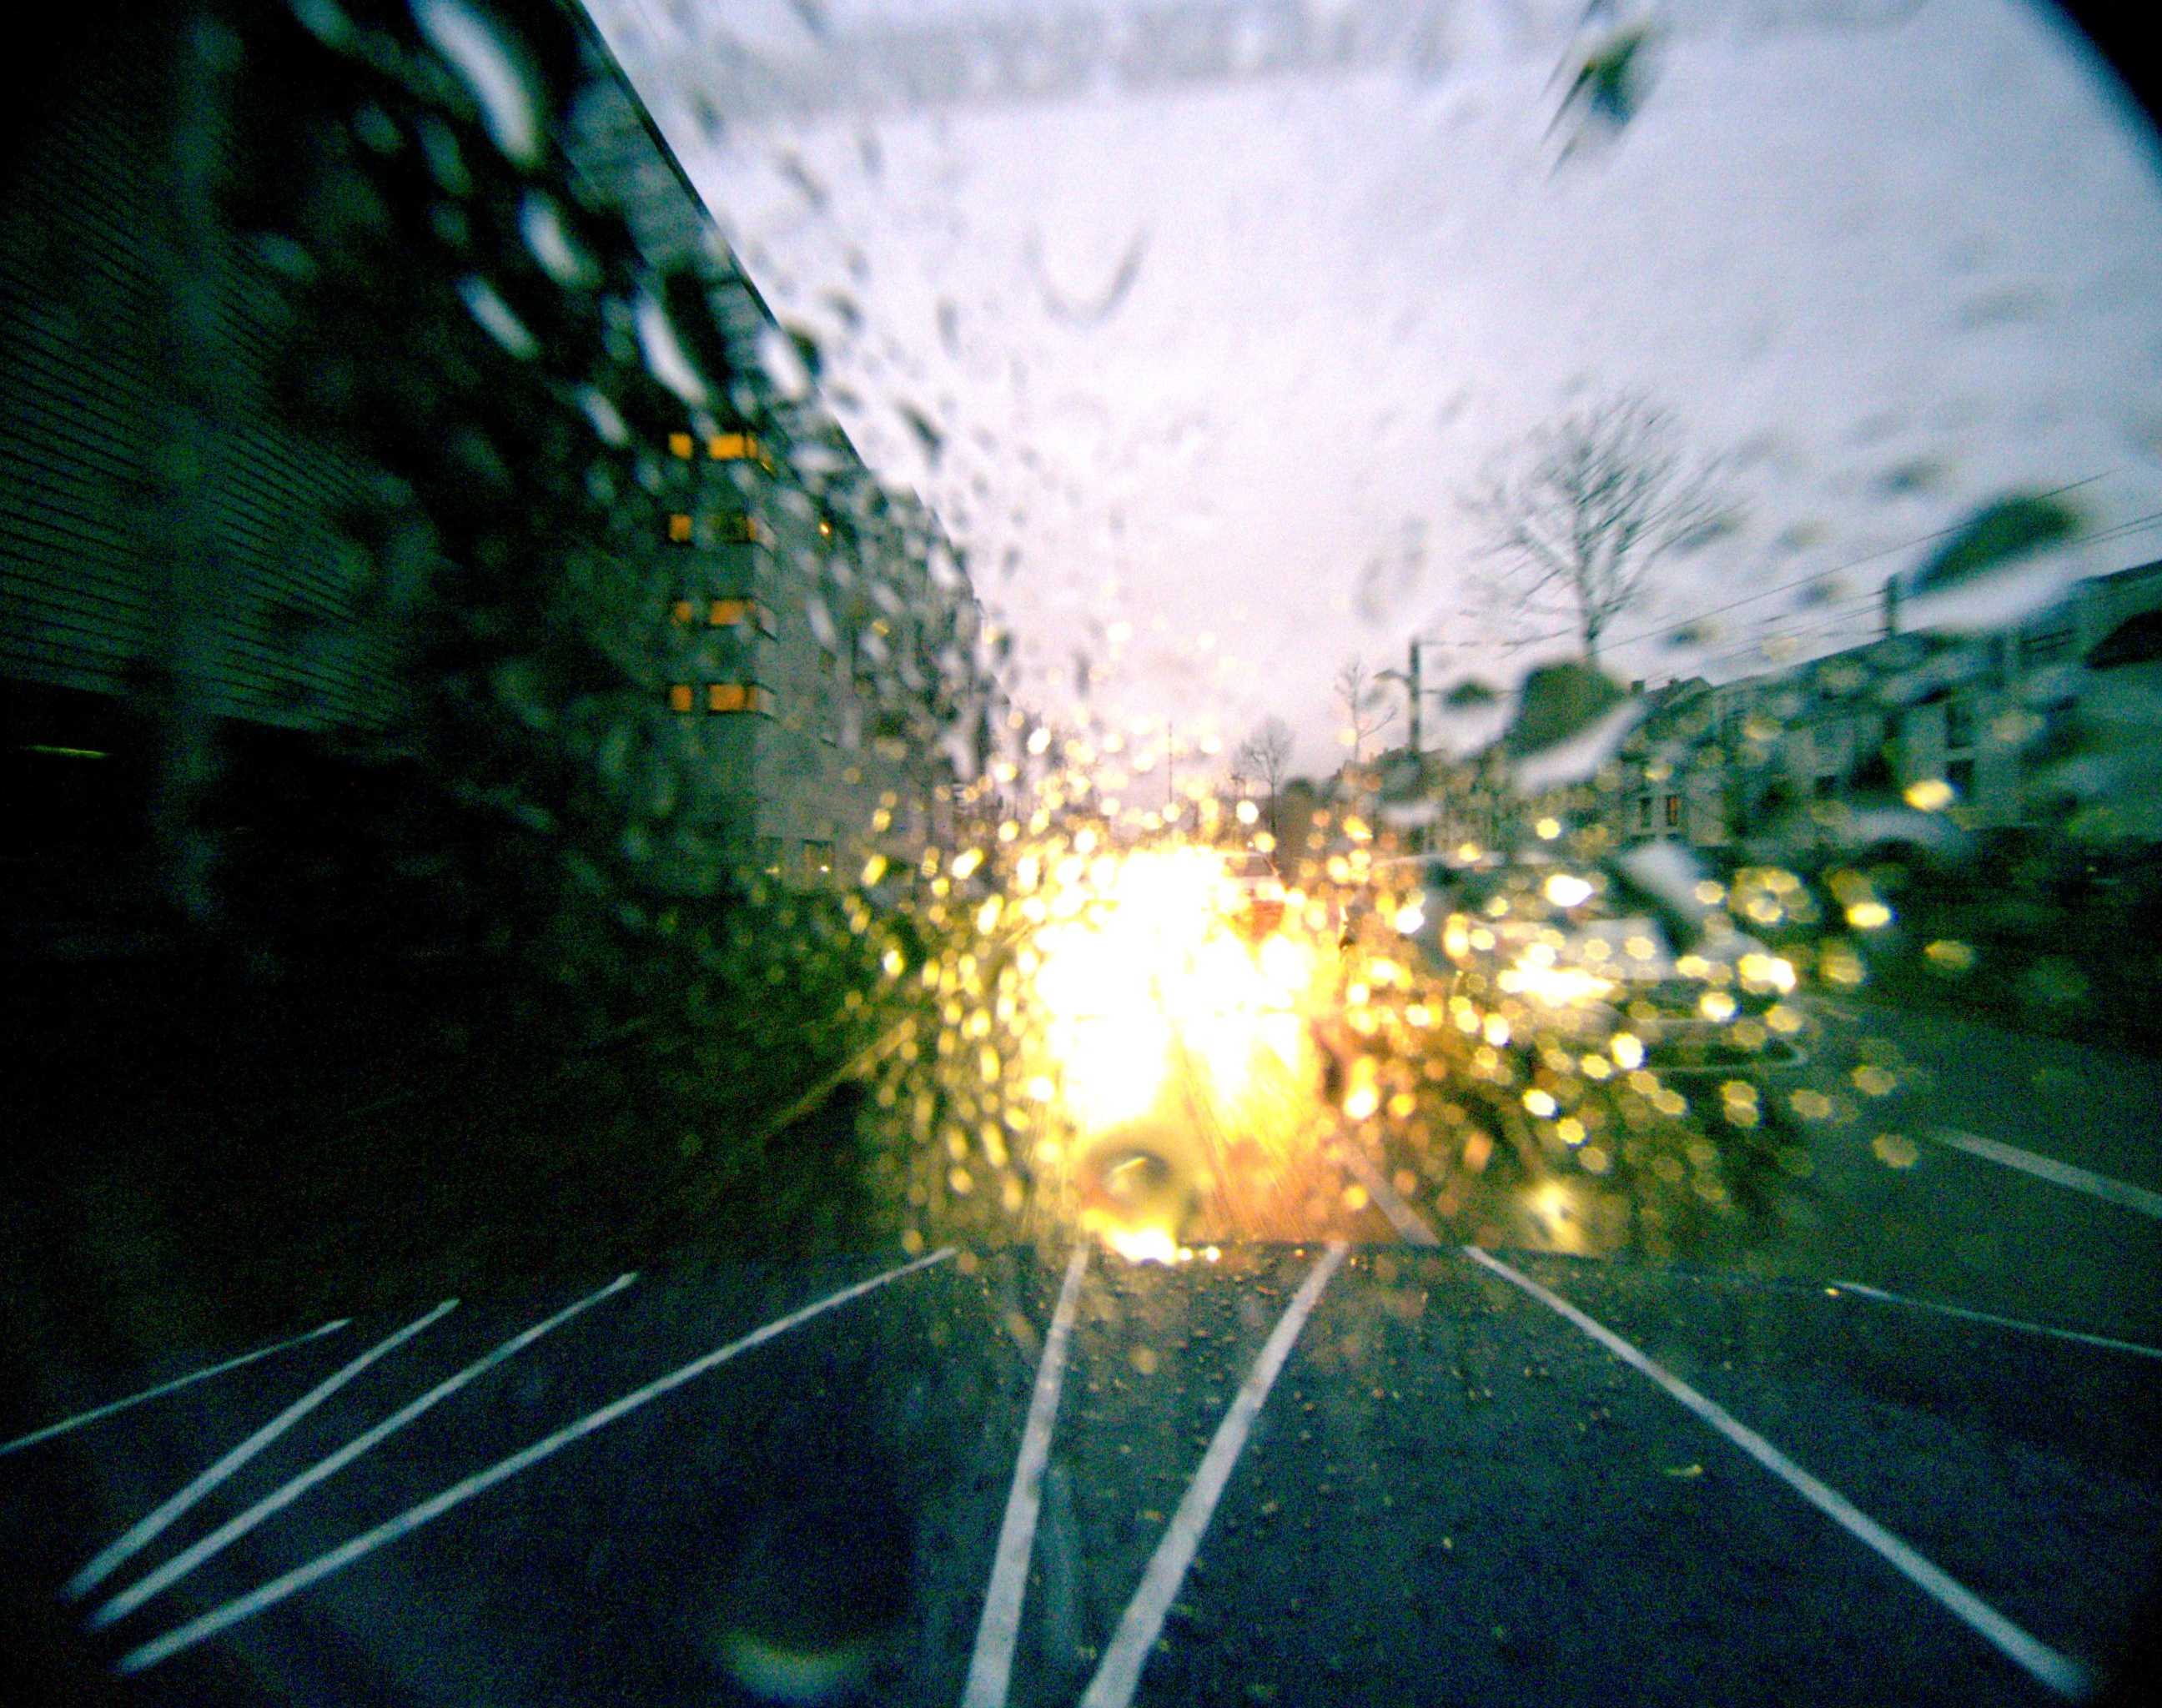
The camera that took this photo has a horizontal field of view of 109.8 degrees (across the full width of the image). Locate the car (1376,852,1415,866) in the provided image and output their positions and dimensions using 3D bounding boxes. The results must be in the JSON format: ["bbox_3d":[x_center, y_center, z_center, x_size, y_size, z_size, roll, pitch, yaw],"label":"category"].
[{"bbox_3d":[33.666,0.551,81.409,3.571,1.301,1.689,-3,0,32],"label":"car"}]

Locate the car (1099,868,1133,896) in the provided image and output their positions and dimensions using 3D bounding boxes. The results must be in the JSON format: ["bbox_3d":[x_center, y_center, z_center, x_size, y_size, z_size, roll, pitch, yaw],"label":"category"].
[{"bbox_3d":[1.888,1.516,41.629,1.736,1.311,3.804,-2,0,2],"label":"car"}]

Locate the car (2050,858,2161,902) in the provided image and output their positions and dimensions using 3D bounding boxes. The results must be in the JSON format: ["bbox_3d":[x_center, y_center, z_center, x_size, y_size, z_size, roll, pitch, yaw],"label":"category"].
[{"bbox_3d":[31.938,0.749,22.545,3.531,1.205,1.751,-2,0,34],"label":"car"}]

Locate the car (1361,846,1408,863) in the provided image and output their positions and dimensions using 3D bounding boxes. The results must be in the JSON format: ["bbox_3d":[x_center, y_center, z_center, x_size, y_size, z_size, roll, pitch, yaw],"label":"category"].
[{"bbox_3d":[34.787,0.102,87.202,4.646,1.713,1.837,-3,0,36],"label":"car"}]

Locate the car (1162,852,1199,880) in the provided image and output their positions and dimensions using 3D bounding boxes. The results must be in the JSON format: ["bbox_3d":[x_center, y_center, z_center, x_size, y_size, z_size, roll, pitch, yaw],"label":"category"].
[{"bbox_3d":[5.857,0.683,45.200,1.904,1.475,3.656,-2,0,4],"label":"car"}]

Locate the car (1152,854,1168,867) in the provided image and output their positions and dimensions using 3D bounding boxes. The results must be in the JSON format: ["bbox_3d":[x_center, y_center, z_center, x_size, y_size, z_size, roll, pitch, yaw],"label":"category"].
[{"bbox_3d":[8.684,0.673,83.710,1.523,1.309,3.436,-2,0,3],"label":"car"}]

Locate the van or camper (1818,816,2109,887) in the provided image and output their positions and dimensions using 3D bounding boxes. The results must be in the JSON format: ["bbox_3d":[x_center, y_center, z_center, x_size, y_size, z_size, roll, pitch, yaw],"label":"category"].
[{"bbox_3d":[32.830,-0.018,28.732,6.863,2.346,2.004,-2,0,36],"label":"van or camper"}]

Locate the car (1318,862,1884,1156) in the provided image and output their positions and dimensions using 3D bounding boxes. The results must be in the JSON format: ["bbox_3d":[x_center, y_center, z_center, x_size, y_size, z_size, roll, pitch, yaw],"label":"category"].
[{"bbox_3d":[3.412,0.847,6.059,1.693,1.465,4.001,-2,0,-1],"label":"car"}]

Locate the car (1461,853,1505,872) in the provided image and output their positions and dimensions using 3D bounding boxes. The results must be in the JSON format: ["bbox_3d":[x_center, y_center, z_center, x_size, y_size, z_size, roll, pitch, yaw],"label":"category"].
[{"bbox_3d":[32.641,0.700,61.697,2.929,1.328,1.741,-3,0,35],"label":"car"}]

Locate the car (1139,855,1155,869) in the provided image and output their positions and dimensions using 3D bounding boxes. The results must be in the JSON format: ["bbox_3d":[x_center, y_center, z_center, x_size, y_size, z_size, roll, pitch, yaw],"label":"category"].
[{"bbox_3d":[8.821,1.079,101.601,1.827,1.707,3.750,-2,0,1],"label":"car"}]

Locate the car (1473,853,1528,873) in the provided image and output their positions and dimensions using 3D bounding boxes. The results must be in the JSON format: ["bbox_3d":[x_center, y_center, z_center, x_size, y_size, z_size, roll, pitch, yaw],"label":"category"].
[{"bbox_3d":[32.251,0.728,58.433,3.376,1.413,1.673,-2,0,41],"label":"car"}]

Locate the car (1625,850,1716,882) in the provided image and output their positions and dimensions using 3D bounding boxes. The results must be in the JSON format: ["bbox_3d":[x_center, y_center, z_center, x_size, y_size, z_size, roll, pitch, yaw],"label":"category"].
[{"bbox_3d":[32.687,0.673,42.293,3.839,1.579,1.745,-2,0,34],"label":"car"}]

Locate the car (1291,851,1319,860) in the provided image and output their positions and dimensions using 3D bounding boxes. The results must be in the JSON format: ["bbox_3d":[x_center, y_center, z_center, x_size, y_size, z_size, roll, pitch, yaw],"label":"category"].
[{"bbox_3d":[36.073,0.245,122.595,4.034,1.223,1.351,-4,1,39],"label":"car"}]

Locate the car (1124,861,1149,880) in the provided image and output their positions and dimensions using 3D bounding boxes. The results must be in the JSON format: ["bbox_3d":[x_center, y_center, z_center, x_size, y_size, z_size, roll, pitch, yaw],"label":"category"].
[{"bbox_3d":[4.949,1.459,68.137,1.849,1.478,3.551,-2,0,0],"label":"car"}]

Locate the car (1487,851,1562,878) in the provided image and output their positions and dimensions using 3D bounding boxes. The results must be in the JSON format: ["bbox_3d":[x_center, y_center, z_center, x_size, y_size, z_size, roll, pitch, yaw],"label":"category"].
[{"bbox_3d":[27.582,0.631,47.464,1.885,1.494,4.790,-2,0,1],"label":"car"}]

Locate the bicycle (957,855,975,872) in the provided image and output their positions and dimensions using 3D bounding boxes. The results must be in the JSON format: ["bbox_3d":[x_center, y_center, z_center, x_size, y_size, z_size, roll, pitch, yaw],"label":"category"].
[{"bbox_3d":[-9.001,0.747,59.506,0.411,1.277,1.747,-2,0,30],"label":"bicycle"}]

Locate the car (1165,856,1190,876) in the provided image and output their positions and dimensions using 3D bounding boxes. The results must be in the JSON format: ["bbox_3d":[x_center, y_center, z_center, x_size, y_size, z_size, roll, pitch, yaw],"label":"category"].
[{"bbox_3d":[7.736,0.926,61.185,1.689,1.478,3.437,-2,0,3],"label":"car"}]

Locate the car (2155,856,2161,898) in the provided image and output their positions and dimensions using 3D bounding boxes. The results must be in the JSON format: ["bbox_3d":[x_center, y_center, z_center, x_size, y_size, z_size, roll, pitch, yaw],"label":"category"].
[{"bbox_3d":[31.460,0.602,19.806,3.531,1.193,1.886,-2,0,34],"label":"car"}]

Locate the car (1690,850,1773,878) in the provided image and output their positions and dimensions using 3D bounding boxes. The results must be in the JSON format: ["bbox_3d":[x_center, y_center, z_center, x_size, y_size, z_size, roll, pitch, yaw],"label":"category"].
[{"bbox_3d":[32.792,0.528,38.326,3.088,1.295,1.391,-2,0,44],"label":"car"}]

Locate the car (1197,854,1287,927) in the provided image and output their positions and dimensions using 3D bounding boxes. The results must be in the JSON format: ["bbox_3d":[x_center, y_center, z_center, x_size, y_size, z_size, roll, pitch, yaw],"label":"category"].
[{"bbox_3d":[3.793,0.806,18.493,1.637,1.510,3.909,-2,0,5],"label":"car"}]

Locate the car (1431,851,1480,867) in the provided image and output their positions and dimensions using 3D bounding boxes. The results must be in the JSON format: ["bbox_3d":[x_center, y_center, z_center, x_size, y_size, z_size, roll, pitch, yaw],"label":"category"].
[{"bbox_3d":[33.613,0.477,68.214,3.834,1.238,1.741,-3,0,31],"label":"car"}]

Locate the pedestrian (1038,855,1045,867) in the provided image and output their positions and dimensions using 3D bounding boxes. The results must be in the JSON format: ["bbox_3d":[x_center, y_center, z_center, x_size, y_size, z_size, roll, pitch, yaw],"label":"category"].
[{"bbox_3d":[-5.500,0.940,105.146,0.673,1.603,0.615,-2,0,16],"label":"pedestrian"}]

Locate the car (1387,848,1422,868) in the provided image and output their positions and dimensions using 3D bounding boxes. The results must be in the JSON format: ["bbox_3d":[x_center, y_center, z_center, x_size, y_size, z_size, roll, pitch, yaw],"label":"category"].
[{"bbox_3d":[28.133,0.370,66.150,1.617,1.613,3.509,-2,0,2],"label":"car"}]

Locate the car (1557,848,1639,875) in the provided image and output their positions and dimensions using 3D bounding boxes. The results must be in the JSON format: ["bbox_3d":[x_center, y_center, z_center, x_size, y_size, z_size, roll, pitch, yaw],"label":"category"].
[{"bbox_3d":[32.862,0.475,48.311,4.151,1.532,1.673,-2,0,38],"label":"car"}]

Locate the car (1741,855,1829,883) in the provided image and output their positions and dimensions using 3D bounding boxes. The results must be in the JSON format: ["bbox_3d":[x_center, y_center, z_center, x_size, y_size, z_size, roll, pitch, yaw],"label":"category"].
[{"bbox_3d":[32.363,0.693,34.975,2.880,1.196,1.391,-2,0,44],"label":"car"}]

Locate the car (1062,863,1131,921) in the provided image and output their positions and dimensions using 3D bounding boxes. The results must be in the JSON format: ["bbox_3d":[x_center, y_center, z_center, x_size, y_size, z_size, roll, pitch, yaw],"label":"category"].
[{"bbox_3d":[0.450,0.972,20.799,1.669,1.325,3.787,-2,0,2],"label":"car"}]
